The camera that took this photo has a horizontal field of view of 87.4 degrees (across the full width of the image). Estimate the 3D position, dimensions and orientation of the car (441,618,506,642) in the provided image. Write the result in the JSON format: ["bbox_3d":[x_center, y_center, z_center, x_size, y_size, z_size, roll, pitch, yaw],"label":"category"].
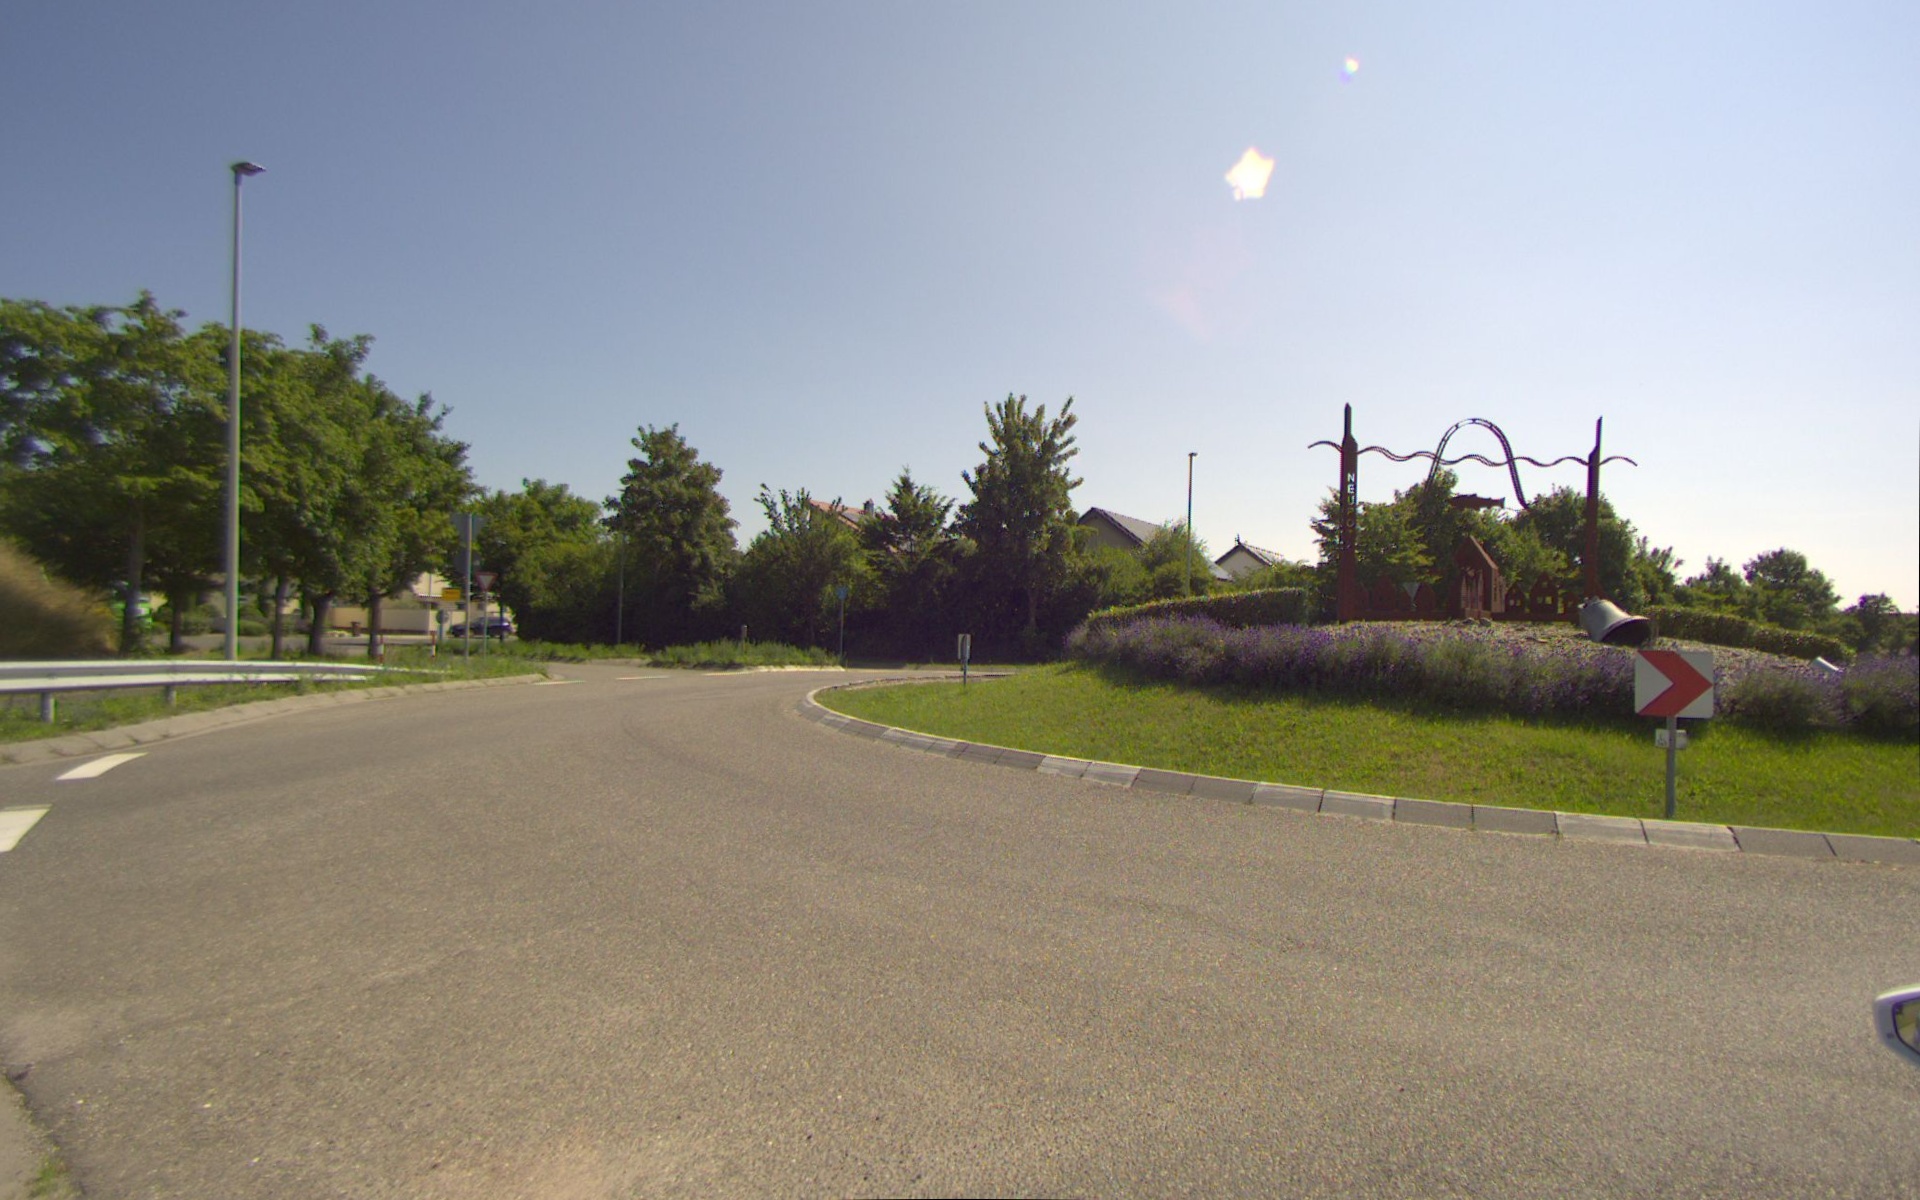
[{"bbox_3d":[-33.021,2.034,68.251,1.582,1.523,3.723,2,-1,31],"label":"car"}]

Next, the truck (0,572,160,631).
[{"bbox_3d":[-45.835,0.064,51.653,7.533,2.684,2.523,3,0,4],"label":"truck"}]
